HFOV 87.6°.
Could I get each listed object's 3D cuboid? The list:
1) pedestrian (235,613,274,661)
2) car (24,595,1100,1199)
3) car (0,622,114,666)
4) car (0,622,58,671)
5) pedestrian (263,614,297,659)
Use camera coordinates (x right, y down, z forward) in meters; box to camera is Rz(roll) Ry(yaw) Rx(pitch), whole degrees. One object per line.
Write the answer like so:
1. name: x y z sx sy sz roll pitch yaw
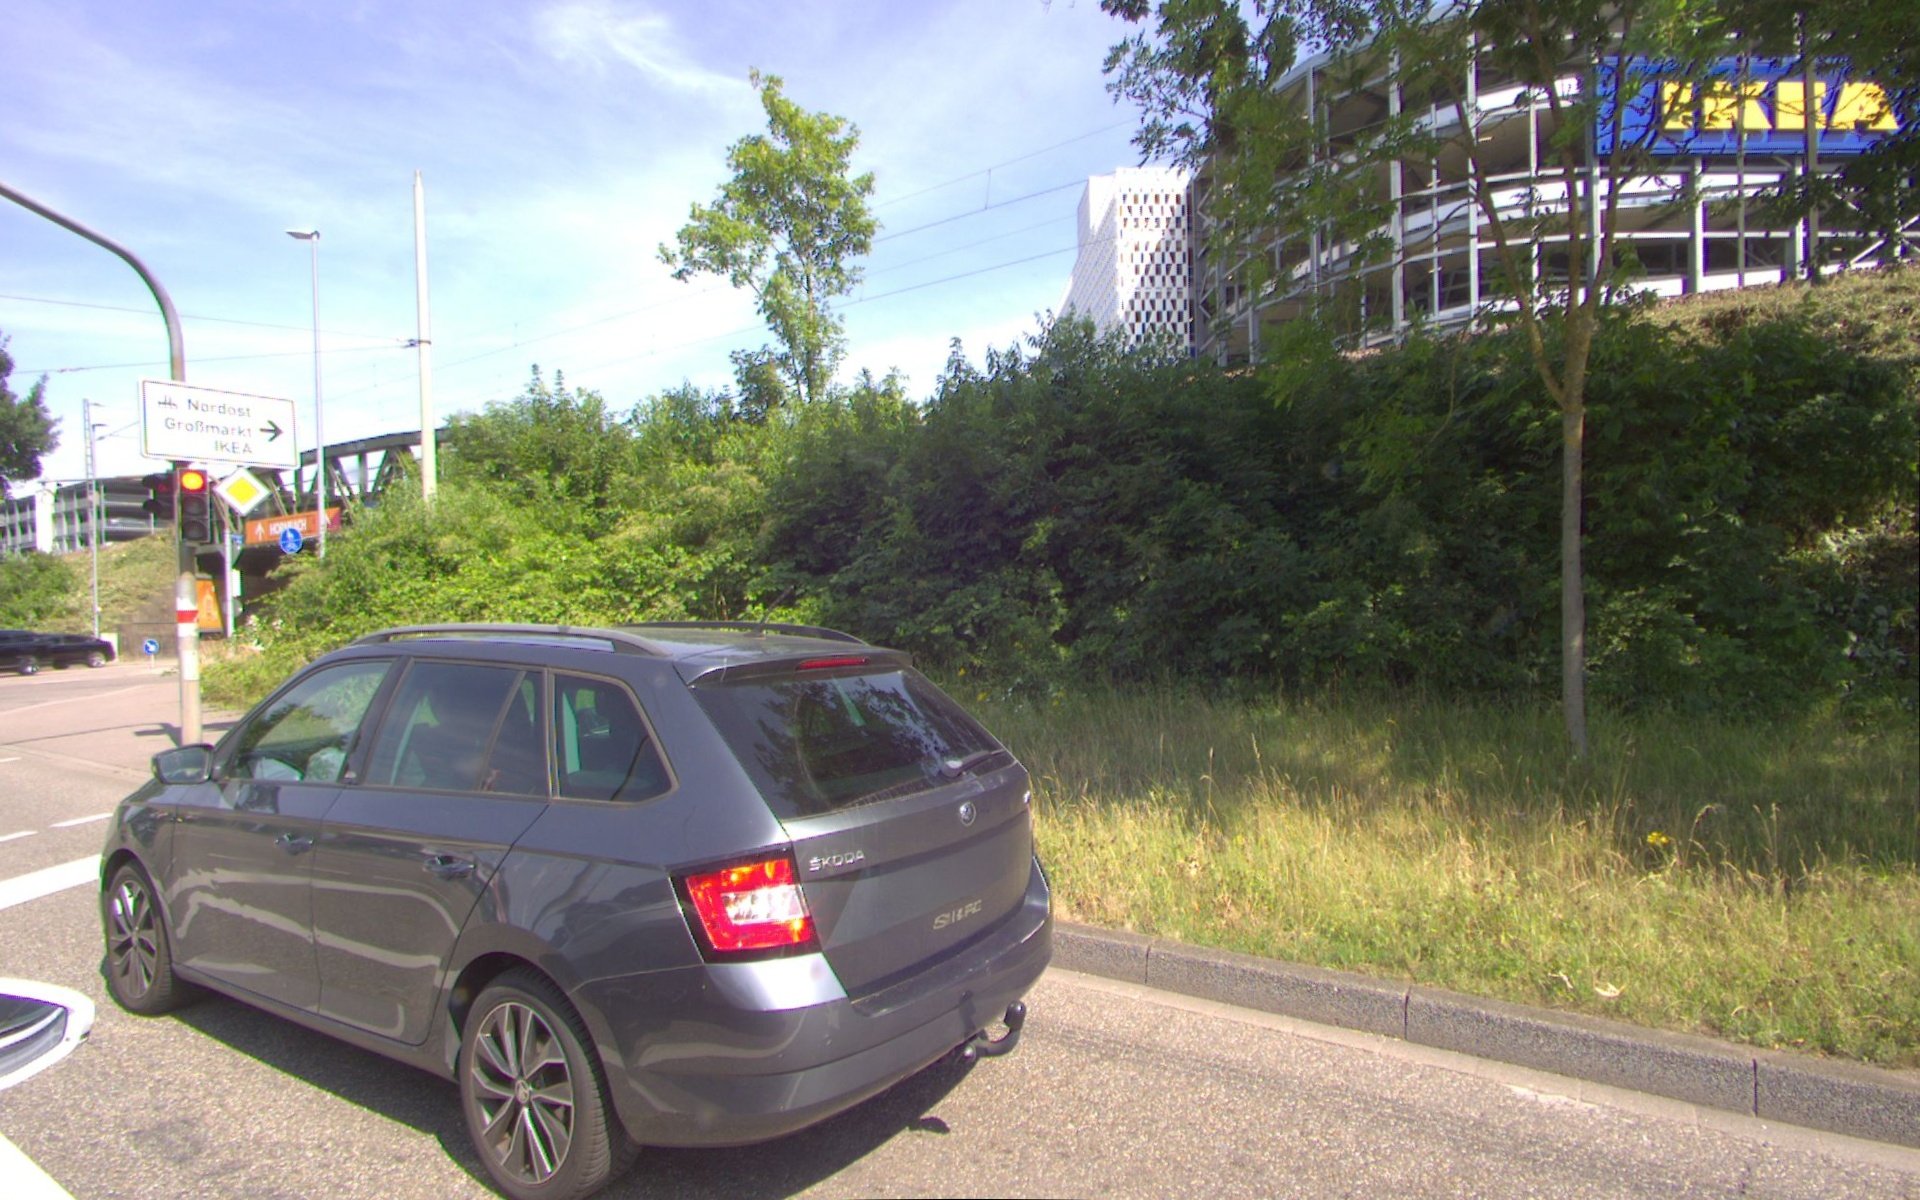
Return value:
1. pedestrian: -24.635 1.271 34.962 0.766 1.633 0.866 -1 0 32
2. car: -1.650 0.780 3.692 3.978 1.472 1.671 -1 -2 32
3. car: -34.299 1.606 37.020 1.877 1.482 4.621 -1 0 4
4. car: -30.013 1.437 30.141 1.755 1.462 4.222 -1 0 2
5. pedestrian: -24.187 1.289 35.631 0.766 1.600 0.728 -1 0 32
